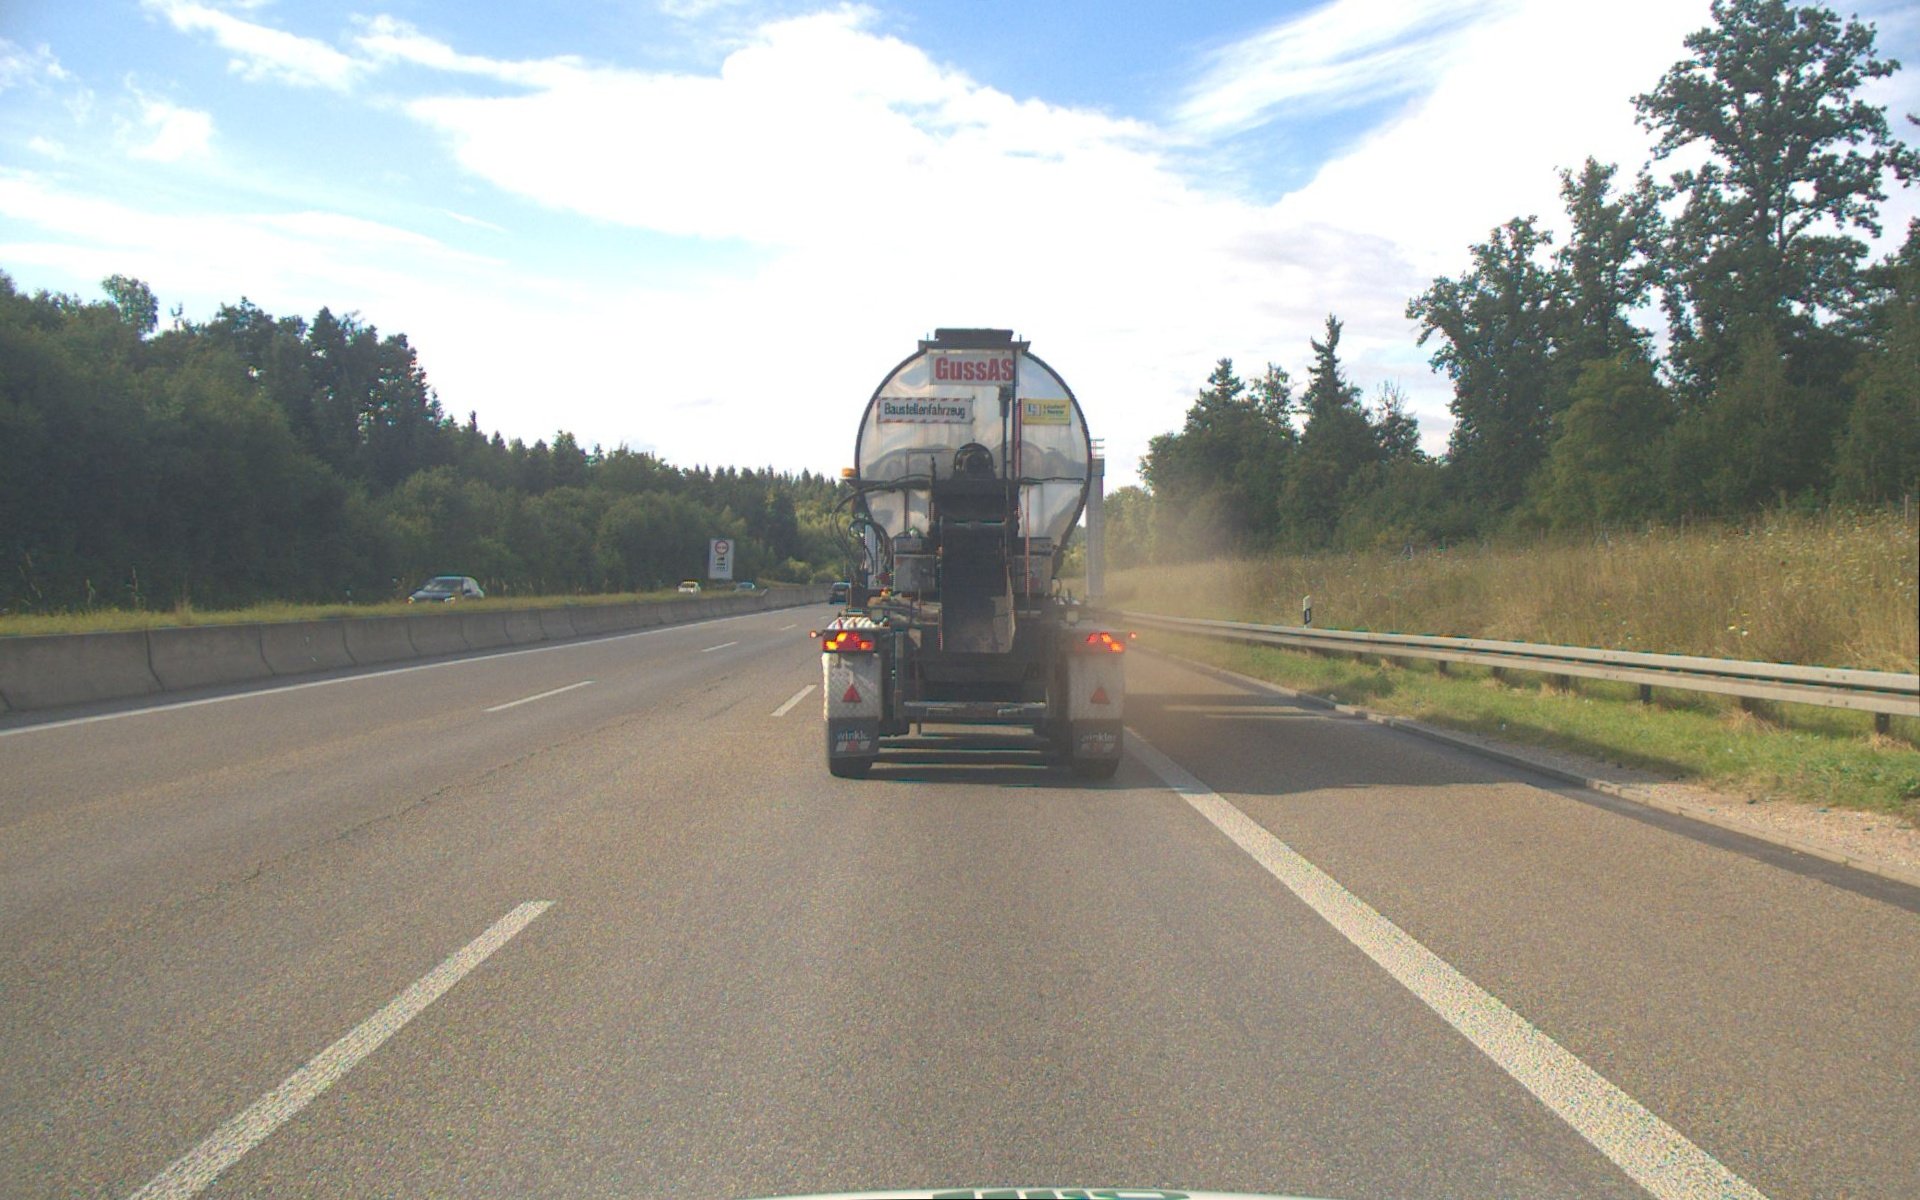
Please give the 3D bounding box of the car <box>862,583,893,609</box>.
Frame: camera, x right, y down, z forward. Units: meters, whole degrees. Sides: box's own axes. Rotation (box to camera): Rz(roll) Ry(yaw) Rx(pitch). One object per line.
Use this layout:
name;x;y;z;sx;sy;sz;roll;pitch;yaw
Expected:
car;-5.130;-0.272;103.741;1.798;1.544;4.332;0;0;-1

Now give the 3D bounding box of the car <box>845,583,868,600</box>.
car;-8.988;-0.752;144.106;1.818;1.456;4.840;0;0;-1

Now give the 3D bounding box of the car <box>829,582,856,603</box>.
car;-8.823;-0.581;124.391;1.798;1.544;4.332;0;0;-1

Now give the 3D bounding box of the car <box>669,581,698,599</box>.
car;-24.680;-0.918;147.647;1.910;1.566;4.326;0;0;-1

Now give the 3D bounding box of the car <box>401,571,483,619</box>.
car;-19.369;-0.191;61.990;1.868;1.747;3.999;0;0;-1

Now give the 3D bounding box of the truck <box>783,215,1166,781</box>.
truck;0.046;-0.812;18.080;2.853;4.230;11.268;0;0;-1
